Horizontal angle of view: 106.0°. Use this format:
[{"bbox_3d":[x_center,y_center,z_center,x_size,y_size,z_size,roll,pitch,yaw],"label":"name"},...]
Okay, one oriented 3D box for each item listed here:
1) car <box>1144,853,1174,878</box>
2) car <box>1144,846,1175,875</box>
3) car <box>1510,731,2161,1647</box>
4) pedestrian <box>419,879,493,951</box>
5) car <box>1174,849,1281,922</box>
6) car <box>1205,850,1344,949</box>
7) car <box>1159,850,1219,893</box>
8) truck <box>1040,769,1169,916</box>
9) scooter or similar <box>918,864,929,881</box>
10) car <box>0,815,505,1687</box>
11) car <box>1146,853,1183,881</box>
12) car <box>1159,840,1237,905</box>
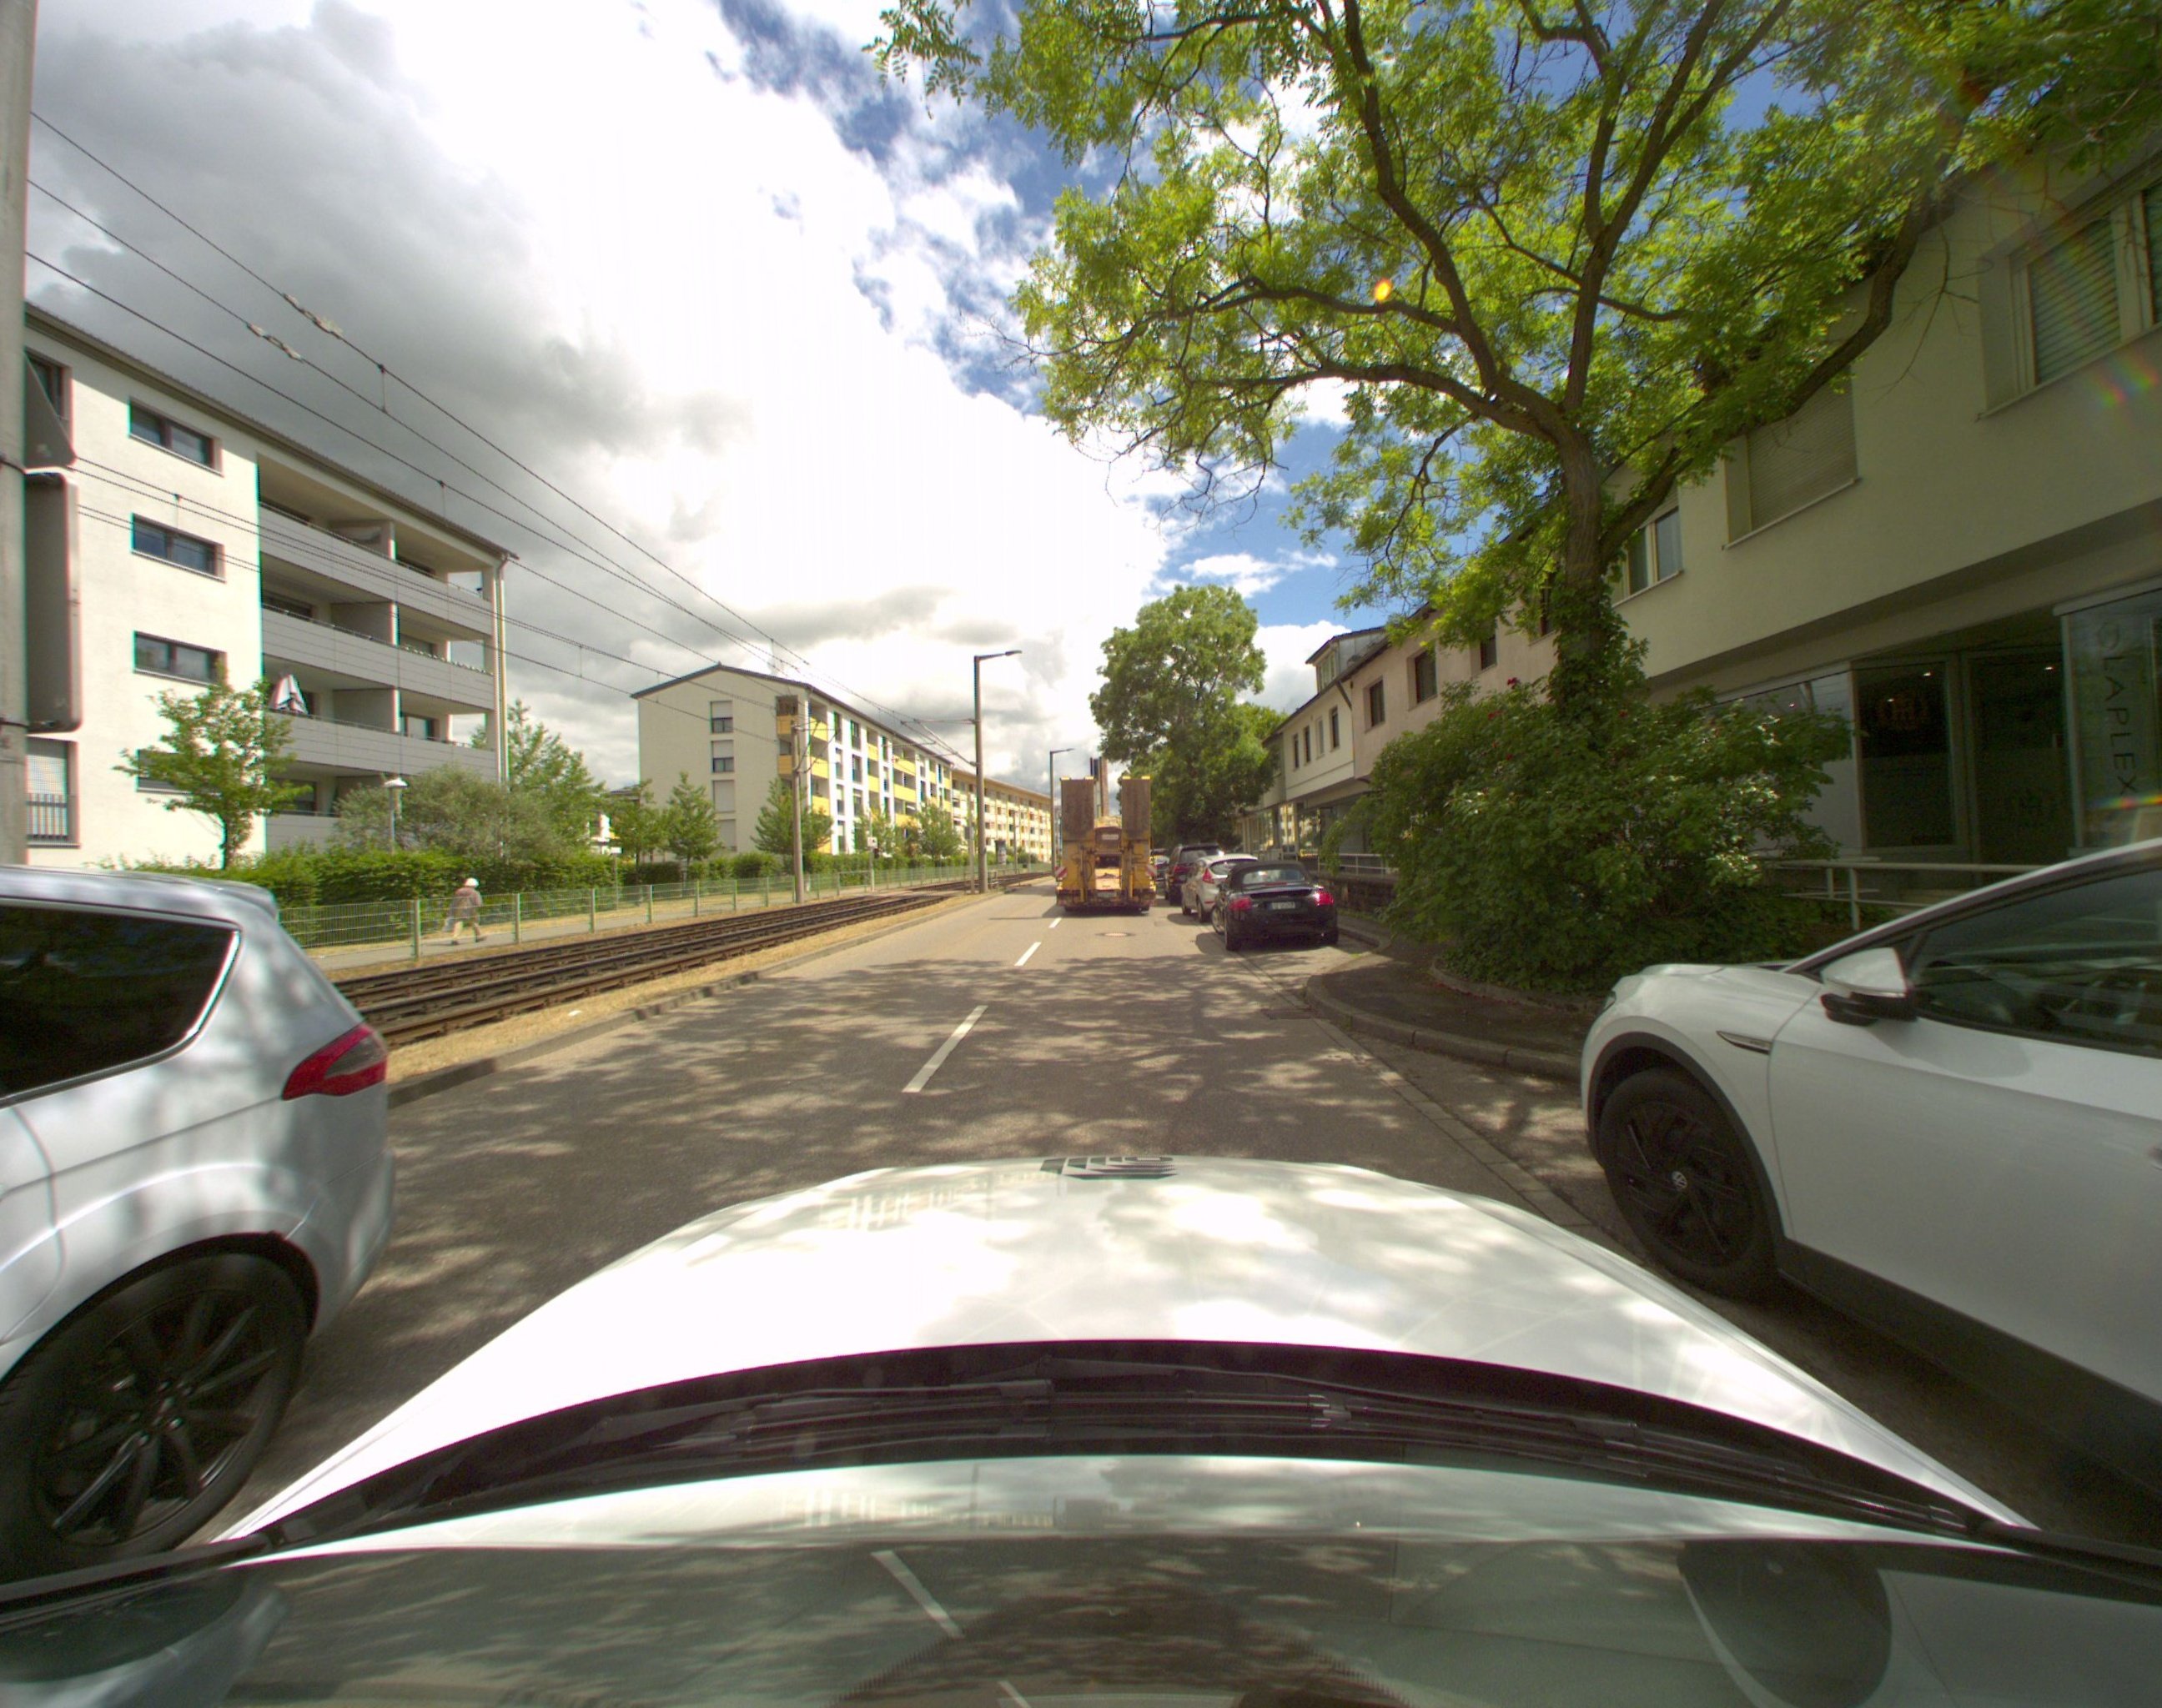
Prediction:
[{"bbox_3d":[5.073,0.740,53.582,1.748,1.442,4.344,-3,0,3],"label":"car"},{"bbox_3d":[5.737,0.459,60.113,1.906,1.958,5.748,-3,0,3],"label":"car"},{"bbox_3d":[2.836,0.578,1.486,1.831,1.643,4.431,-2,0,1],"label":"car"},{"bbox_3d":[-13.604,1.308,17.754,0.793,1.483,0.996,-2,0,1],"label":"pedestrian"},{"bbox_3d":[3.368,0.685,19.370,1.765,1.442,3.899,-4,0,0],"label":"car"},{"bbox_3d":[3.179,0.686,14.145,1.762,1.349,4.007,-4,0,6],"label":"car"},{"bbox_3d":[4.184,0.641,32.172,1.827,1.505,4.244,-3,0,1],"label":"car"},{"bbox_3d":[0.801,-0.279,26.468,3.112,3.564,12.465,-2,0,2],"label":"truck"},{"bbox_3d":[-12.039,1.408,62.168,0.488,1.293,1.303,-2,0,4],"label":"scooter or similar"},{"bbox_3d":[-2.949,0.742,0.486,1.810,1.614,4.603,-1,0,2],"label":"car"},{"bbox_3d":[4.751,0.729,46.831,1.749,1.442,4.495,-3,0,1],"label":"car"},{"bbox_3d":[3.628,0.535,26.096,2.006,1.788,5.081,-3,0,4],"label":"car"}]
